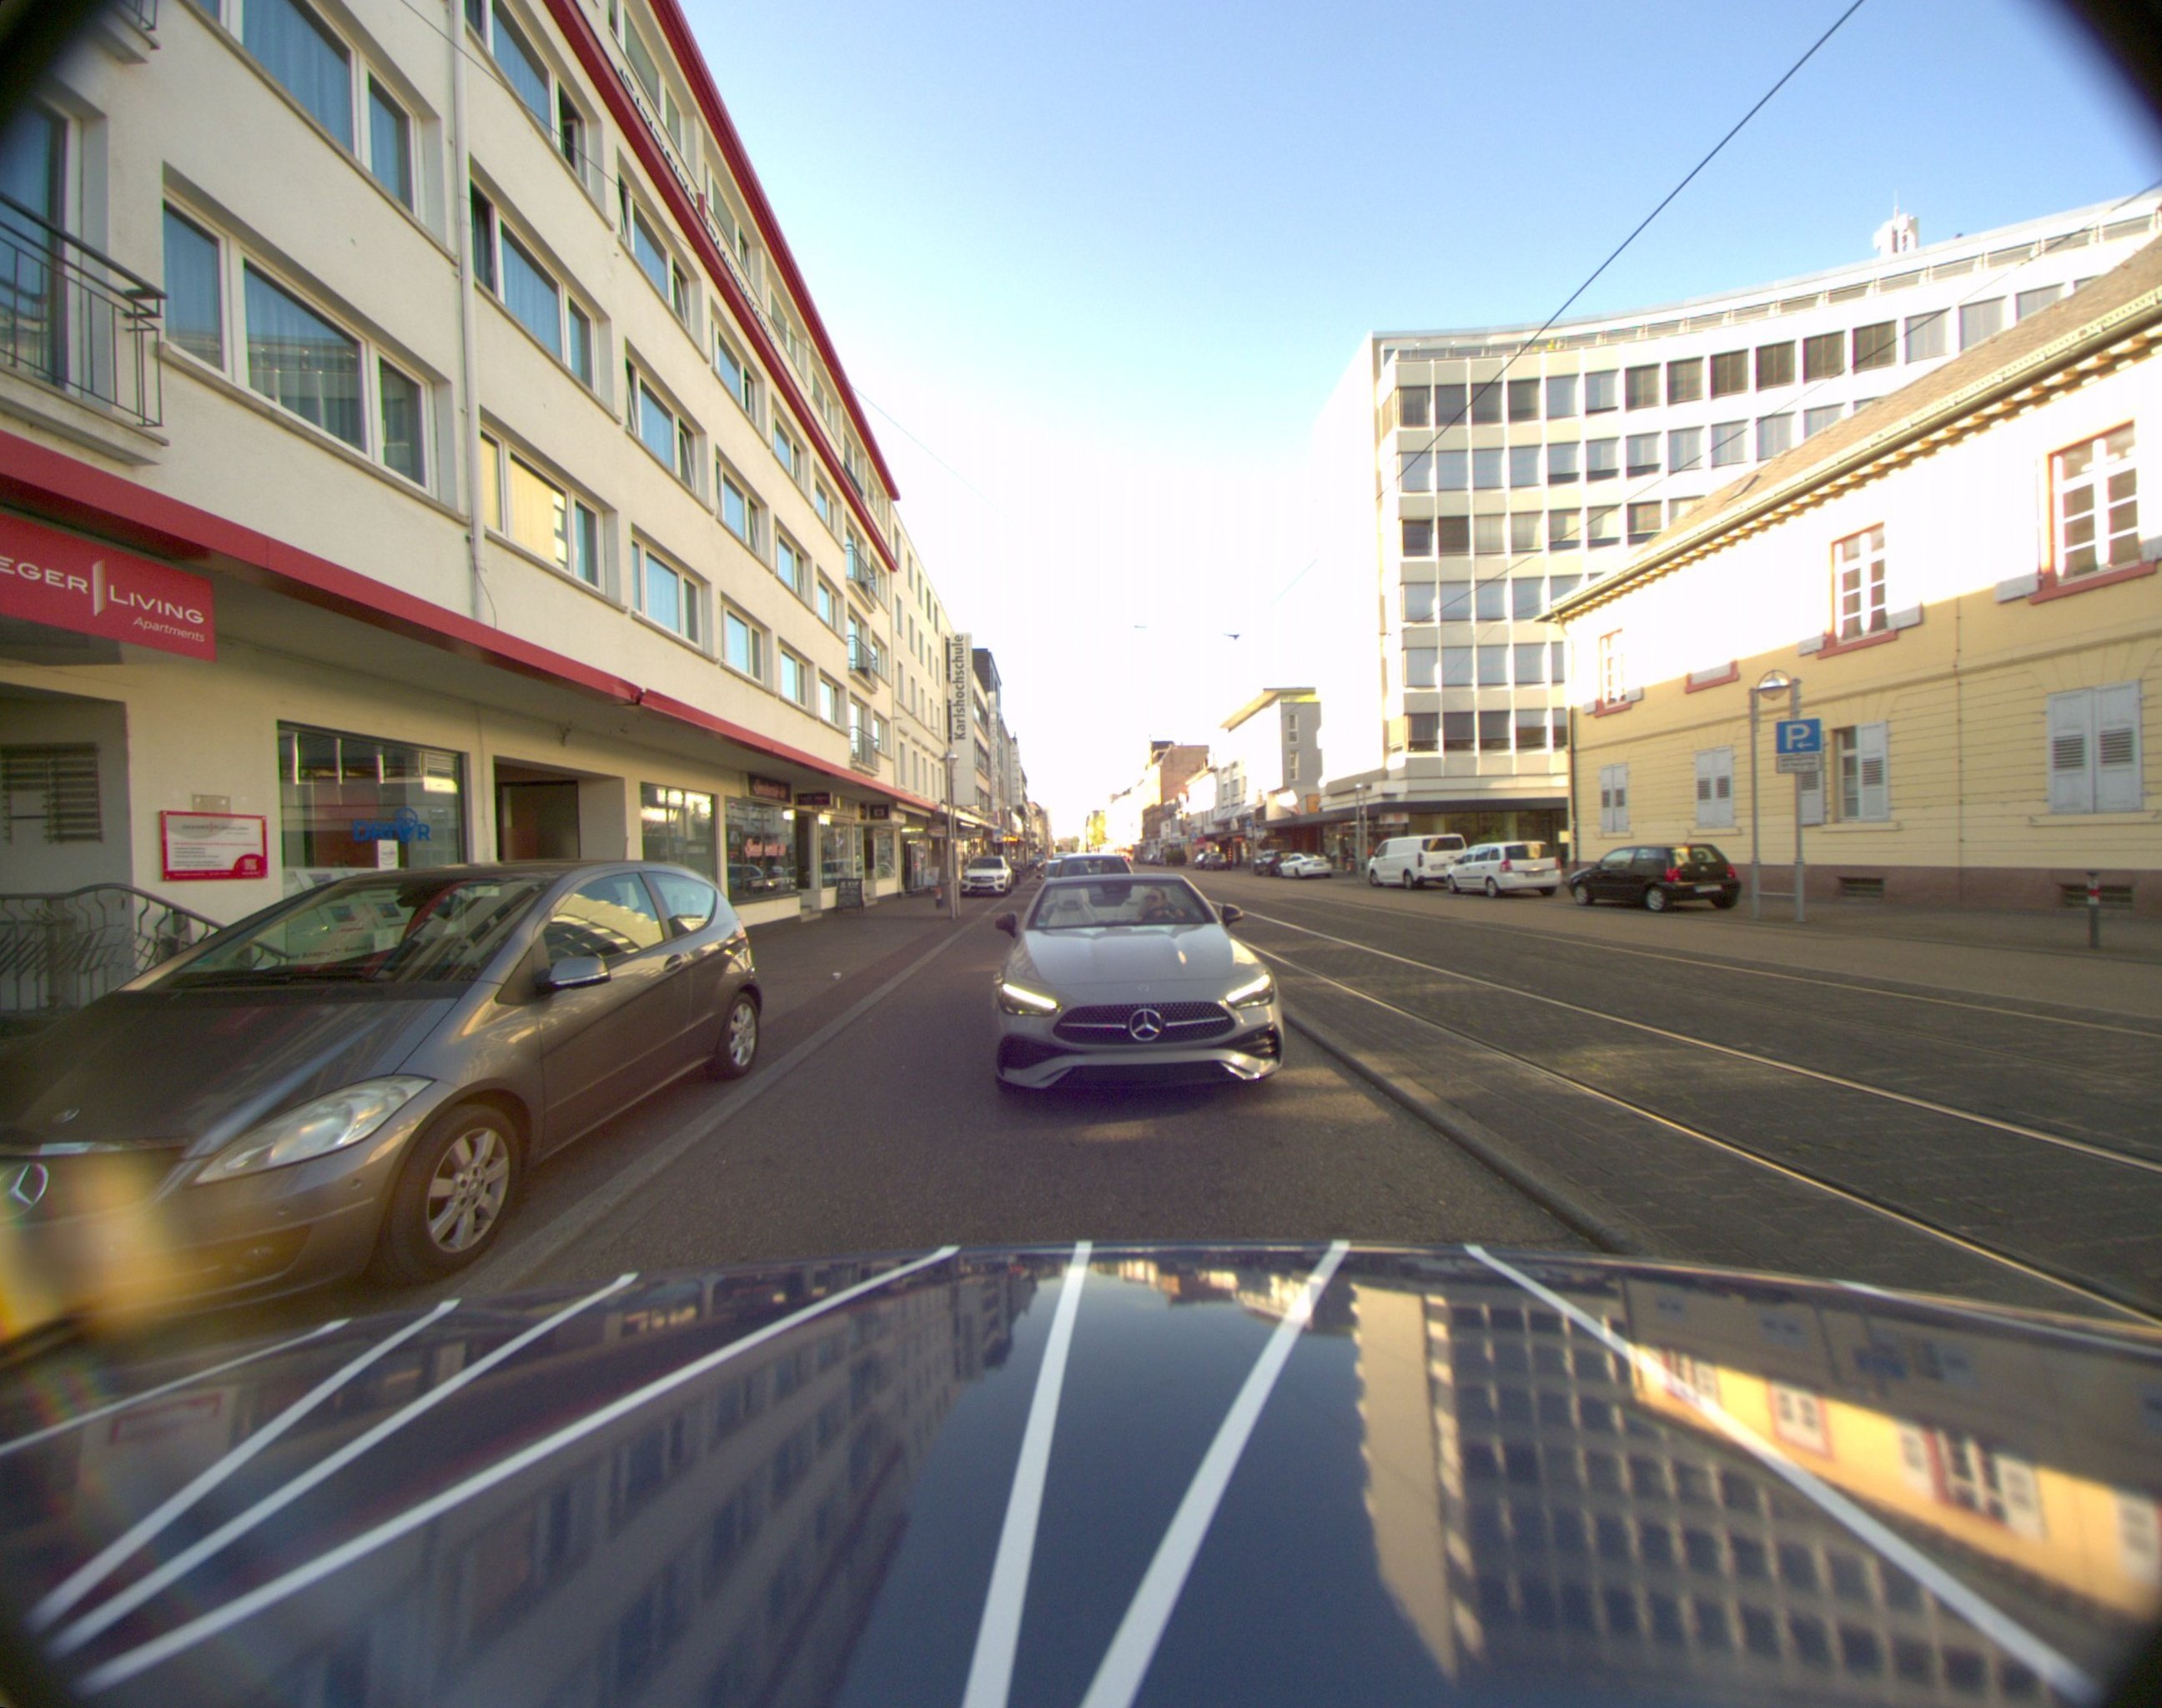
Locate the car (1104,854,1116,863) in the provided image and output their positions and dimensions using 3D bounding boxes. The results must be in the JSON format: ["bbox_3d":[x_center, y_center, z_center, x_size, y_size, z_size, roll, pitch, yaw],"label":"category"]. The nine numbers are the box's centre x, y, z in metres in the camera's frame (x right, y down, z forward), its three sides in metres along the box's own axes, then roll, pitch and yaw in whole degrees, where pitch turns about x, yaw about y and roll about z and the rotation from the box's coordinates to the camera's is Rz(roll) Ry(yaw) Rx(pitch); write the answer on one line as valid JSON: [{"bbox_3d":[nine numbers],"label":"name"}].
[{"bbox_3d":[5.189,0.767,136.904,1.964,1.499,4.000,-2,1,4],"label":"car"}]

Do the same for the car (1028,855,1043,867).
[{"bbox_3d":[-5.749,0.859,96.784,1.714,1.430,3.756,-2,1,-1],"label":"car"}]

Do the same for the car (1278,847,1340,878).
[{"bbox_3d":[12.588,0.418,42.246,1.999,1.521,4.373,-2,1,-1],"label":"car"}]

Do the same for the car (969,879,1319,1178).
[{"bbox_3d":[0.218,1.008,6.153,1.884,1.375,3.998,-2,1,-4],"label":"car"}]

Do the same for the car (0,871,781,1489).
[{"bbox_3d":[-3.206,0.932,3.998,1.683,1.537,3.999,-2,0,-1],"label":"car"}]

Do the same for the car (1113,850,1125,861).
[{"bbox_3d":[7.478,0.312,151.424,1.999,2.002,3.998,-2,1,-2],"label":"car"}]

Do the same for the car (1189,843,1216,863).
[{"bbox_3d":[11.831,-0.076,74.145,1.789,1.870,3.999,-1,0,-2],"label":"car"}]

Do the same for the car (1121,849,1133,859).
[{"bbox_3d":[9.546,-0.101,157.315,1.999,2.002,3.999,-1,0,-2],"label":"car"}]

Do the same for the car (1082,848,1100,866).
[{"bbox_3d":[1.182,0.342,92.946,1.947,2.002,3.999,-2,1,-1],"label":"car"}]

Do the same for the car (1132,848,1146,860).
[{"bbox_3d":[10.298,-0.060,134.580,1.999,2.002,3.999,-1,0,-3],"label":"car"}]

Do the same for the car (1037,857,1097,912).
[{"bbox_3d":[-0.444,0.866,23.628,1.648,1.506,3.844,-2,0,-1],"label":"car"}]

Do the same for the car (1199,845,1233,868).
[{"bbox_3d":[11.574,0.154,65.477,1.999,1.849,3.998,-2,1,-2],"label":"car"}]

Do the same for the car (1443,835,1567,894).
[{"bbox_3d":[12.740,0.266,23.131,1.641,1.600,4.005,-2,1,3],"label":"car"}]

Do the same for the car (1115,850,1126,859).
[{"bbox_3d":[9.055,0.140,176.526,2.148,1.850,3.998,-2,1,-2],"label":"car"}]

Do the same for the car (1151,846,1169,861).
[{"bbox_3d":[11.549,-0.094,111.386,1.999,2.002,3.998,-2,1,-2],"label":"car"}]

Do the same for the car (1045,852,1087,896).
[{"bbox_3d":[-0.635,0.792,31.932,1.573,1.670,3.688,-2,1,-1],"label":"car"}]

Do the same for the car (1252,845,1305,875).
[{"bbox_3d":[12.322,0.359,47.652,1.999,1.694,4.107,-3,1,-2],"label":"car"}]

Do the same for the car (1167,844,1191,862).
[{"bbox_3d":[11.657,-0.076,90.531,2.200,2.030,3.999,-1,0,-1],"label":"car"}]

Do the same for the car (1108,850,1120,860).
[{"bbox_3d":[6.232,0.193,144.035,1.914,1.883,3.855,-2,1,-2],"label":"car"}]

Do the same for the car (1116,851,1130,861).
[{"bbox_3d":[6.765,0.299,122.121,1.760,1.587,3.999,-1,0,-2],"label":"car"}]

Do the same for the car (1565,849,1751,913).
[{"bbox_3d":[12.830,0.540,17.138,1.688,1.246,3.212,-2,1,-1],"label":"car"}]

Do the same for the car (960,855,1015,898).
[{"bbox_3d":[-3.845,0.885,31.711,1.999,1.620,3.998,-1,0,-4],"label":"car"}]

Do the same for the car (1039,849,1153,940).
[{"bbox_3d":[0.164,0.722,15.551,1.927,1.533,3.998,-2,0,-4],"label":"car"}]

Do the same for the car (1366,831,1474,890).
[{"bbox_3d":[12.683,0.227,28.780,2.040,2.002,4.621,-1,0,1],"label":"car"}]

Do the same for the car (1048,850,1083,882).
[{"bbox_3d":[-0.944,0.677,46.473,1.999,1.793,3.999,-2,1,-1],"label":"car"}]

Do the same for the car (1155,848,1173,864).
[{"bbox_3d":[10.966,0.251,100.870,1.998,2.002,4.000,-1,0,1],"label":"car"}]

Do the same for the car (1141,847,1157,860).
[{"bbox_3d":[10.754,-0.036,120.324,1.999,2.002,5.320,-1,0,-2],"label":"car"}]
